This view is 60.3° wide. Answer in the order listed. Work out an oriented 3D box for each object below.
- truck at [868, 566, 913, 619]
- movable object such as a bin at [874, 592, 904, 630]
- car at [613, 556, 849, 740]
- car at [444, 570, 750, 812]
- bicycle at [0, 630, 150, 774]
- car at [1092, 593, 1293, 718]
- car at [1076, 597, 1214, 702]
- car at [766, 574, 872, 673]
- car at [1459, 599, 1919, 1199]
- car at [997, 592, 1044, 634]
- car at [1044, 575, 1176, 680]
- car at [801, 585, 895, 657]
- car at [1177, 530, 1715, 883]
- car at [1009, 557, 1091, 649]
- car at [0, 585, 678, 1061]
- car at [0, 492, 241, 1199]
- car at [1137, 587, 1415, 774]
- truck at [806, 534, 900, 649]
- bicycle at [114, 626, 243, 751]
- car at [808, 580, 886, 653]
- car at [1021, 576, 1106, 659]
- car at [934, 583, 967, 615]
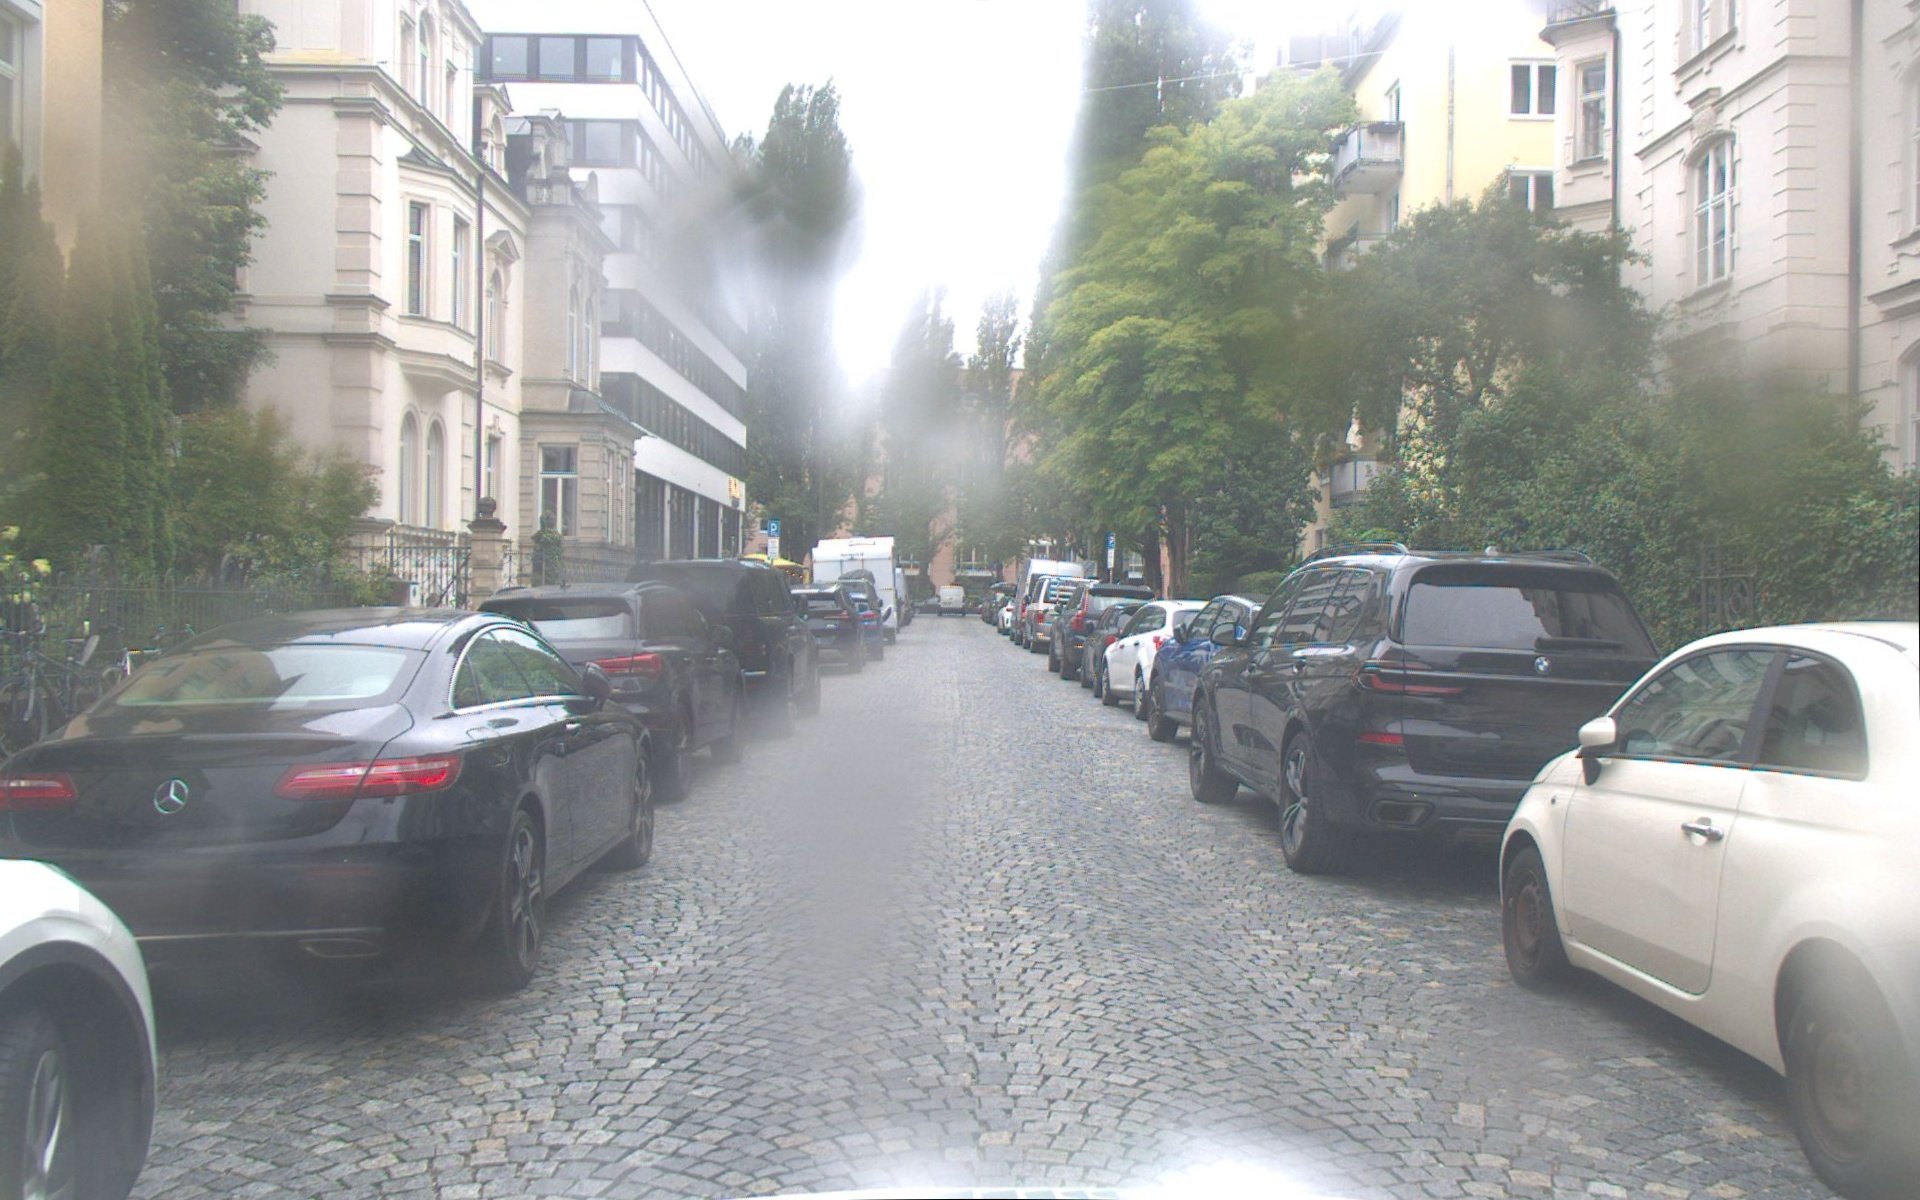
[{"bbox_3d":[-3.215,-0.328,77.372,1.953,2.388,4.067,1,0,-1],"label":"truck"},{"bbox_3d":[-2.665,0.397,62.227,1.042,1.387,1.289,1,0,-1],"label":"movable object such as a bin"},{"bbox_3d":[-2.415,0.455,18.673,1.942,1.768,4.722,1,0,0],"label":"car"},{"bbox_3d":[-2.725,0.633,13.272,1.547,1.618,4.055,-1,0,0],"label":"car"},{"bbox_3d":[-6.864,0.758,12.835,0.344,1.020,1.573,1,0,1],"label":"bicycle"},{"bbox_3d":[2.945,0.669,21.897,1.739,1.454,4.387,1,0,-4],"label":"car"},{"bbox_3d":[2.896,0.743,26.660,1.649,1.478,3.965,3,0,-1],"label":"car"},{"bbox_3d":[-2.648,0.433,31.966,1.738,1.748,4.389,1,0,-1],"label":"car"},{"bbox_3d":[3.096,0.796,5.618,1.597,1.495,3.658,3,0,-1],"label":"car"},{"bbox_3d":[2.251,0.478,62.339,1.567,1.512,3.478,1,0,-1],"label":"car"},{"bbox_3d":[2.747,0.495,31.296,1.923,1.789,4.953,1,0,-1],"label":"car"},{"bbox_3d":[-2.468,0.456,37.288,1.901,1.485,4.056,1,0,-2],"label":"car"},{"bbox_3d":[2.763,0.538,10.904,1.837,1.702,5.489,1,0,-1],"label":"car"},{"bbox_3d":[2.651,0.052,50.016,1.857,2.468,5.610,5,1,-1],"label":"car"},{"bbox_3d":[-2.495,0.703,7.357,1.737,1.454,4.390,1,0,-1],"label":"car"},{"bbox_3d":[-2.510,0.628,1.499,1.737,1.676,4.391,1,0,0],"label":"car"},{"bbox_3d":[2.941,0.695,16.300,1.675,1.508,4.247,3,0,-3],"label":"car"},{"bbox_3d":[-3.052,-0.263,48.517,2.457,3.084,6.383,-1,1,-2],"label":"truck"},{"bbox_3d":[-6.826,0.747,14.509,0.344,1.020,1.573,1,0,1],"label":"bicycle"},{"bbox_3d":[-2.845,0.389,42.427,1.856,1.781,4.166,0,0,-2],"label":"car"},{"bbox_3d":[2.700,0.452,44.262,1.764,1.983,4.859,4,0,-1],"label":"car"},{"bbox_3d":[-0.577,-0.042,104.740,1.955,1.970,4.000,1,0,1],"label":"car"}]
